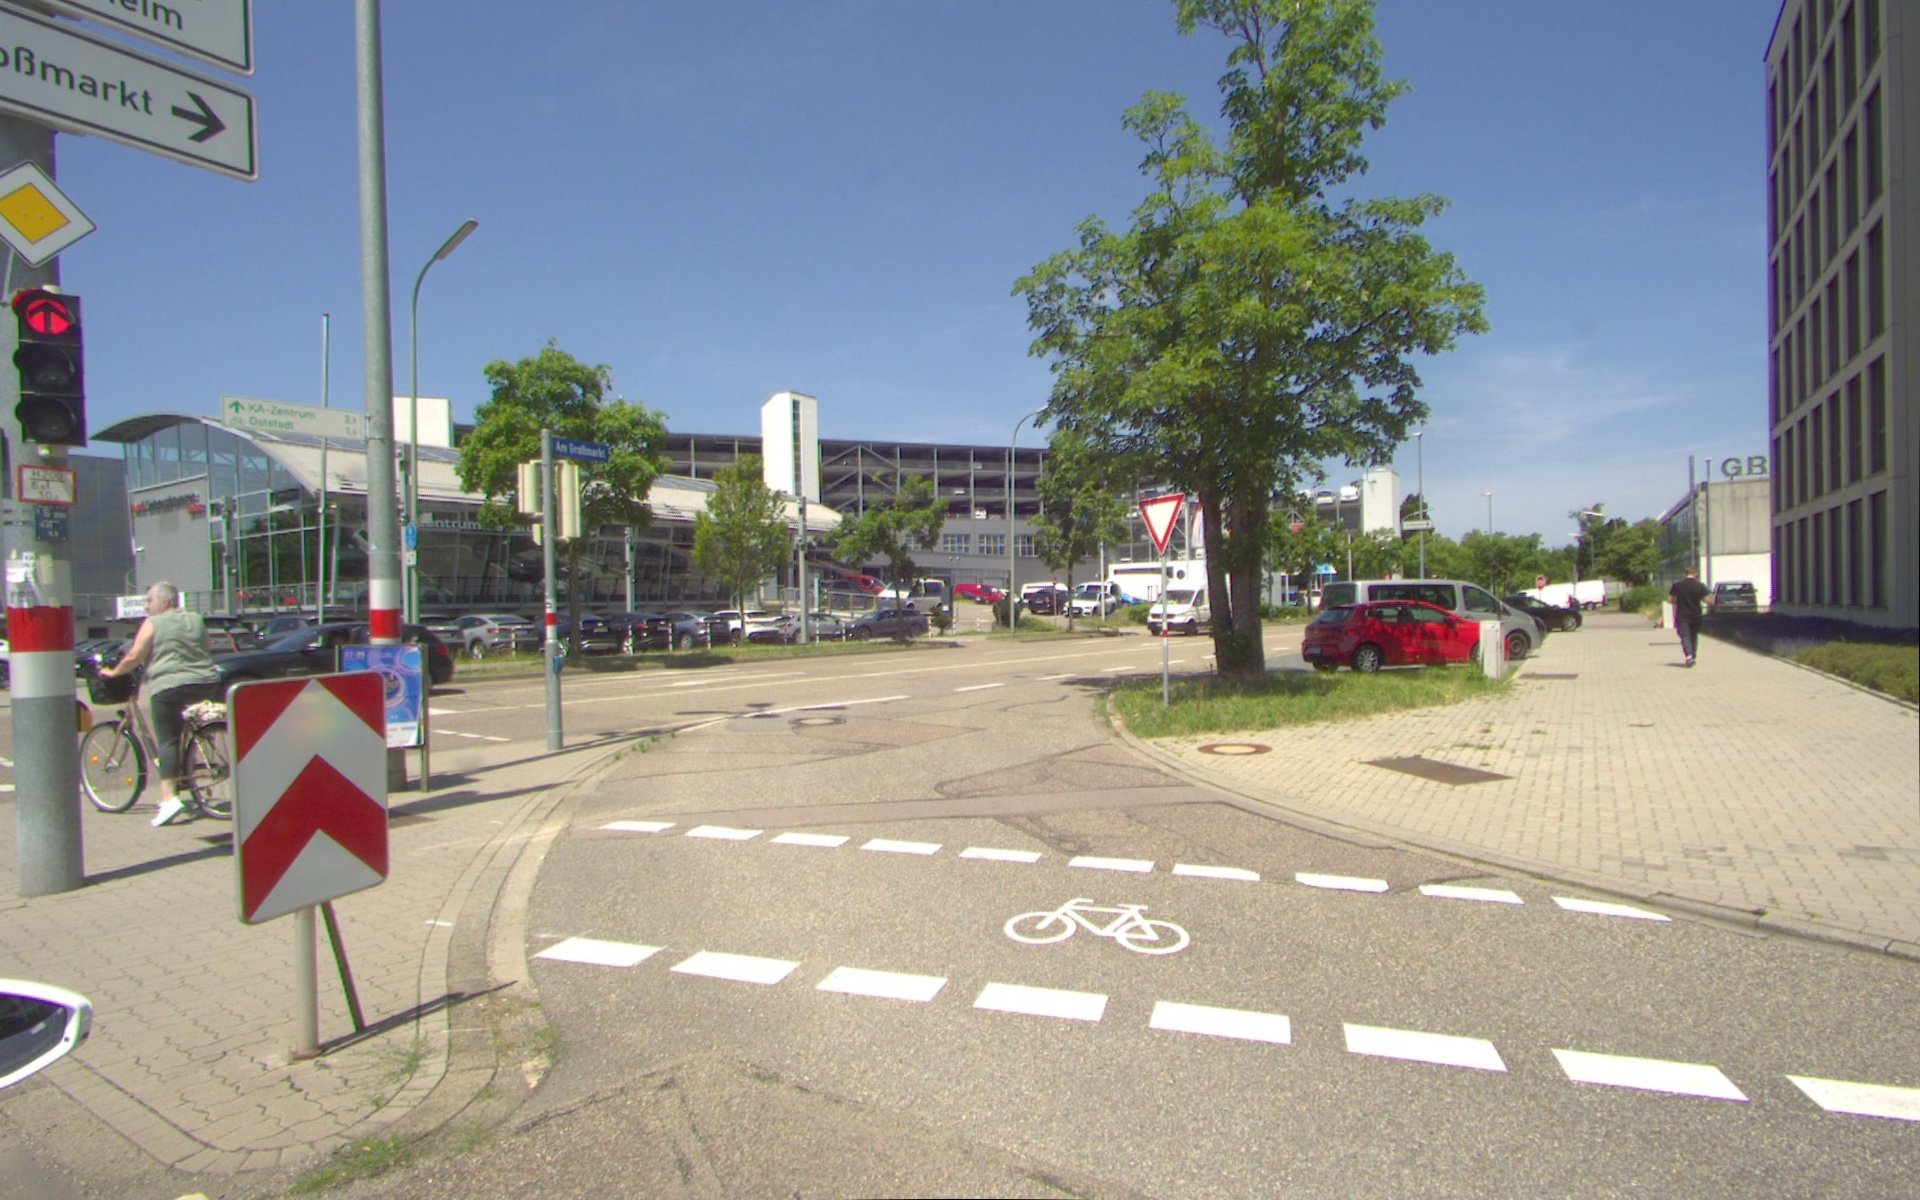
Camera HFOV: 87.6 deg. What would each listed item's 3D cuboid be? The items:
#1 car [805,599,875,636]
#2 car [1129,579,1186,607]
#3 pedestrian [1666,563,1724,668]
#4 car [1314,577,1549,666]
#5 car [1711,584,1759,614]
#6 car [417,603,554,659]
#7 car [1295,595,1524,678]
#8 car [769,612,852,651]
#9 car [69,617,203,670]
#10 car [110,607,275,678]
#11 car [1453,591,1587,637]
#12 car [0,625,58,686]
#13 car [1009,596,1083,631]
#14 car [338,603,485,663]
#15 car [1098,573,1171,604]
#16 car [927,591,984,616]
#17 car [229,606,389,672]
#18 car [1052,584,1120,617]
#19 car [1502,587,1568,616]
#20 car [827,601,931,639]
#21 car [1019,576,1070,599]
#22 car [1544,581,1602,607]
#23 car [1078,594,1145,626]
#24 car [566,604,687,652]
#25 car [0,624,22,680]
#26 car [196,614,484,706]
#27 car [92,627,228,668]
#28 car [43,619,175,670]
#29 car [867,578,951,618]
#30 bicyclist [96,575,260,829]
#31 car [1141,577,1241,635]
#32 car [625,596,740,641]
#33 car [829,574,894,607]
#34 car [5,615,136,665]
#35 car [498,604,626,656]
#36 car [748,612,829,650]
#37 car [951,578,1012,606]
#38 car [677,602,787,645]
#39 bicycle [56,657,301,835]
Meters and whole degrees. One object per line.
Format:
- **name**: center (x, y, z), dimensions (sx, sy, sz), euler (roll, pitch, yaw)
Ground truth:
- **car**: center (-6.950, 1.000, 58.252), dimensions (1.839, 2.040, 3.733), euler (-1, 0, 41)
- **car**: center (15.428, -0.534, 78.328), dimensions (3.945, 2.040, 1.988), euler (-1, 0, 34)
- **pedestrian**: center (13.484, 0.292, 18.368), dimensions (0.764, 1.869, 0.861), euler (-2, 0, 40)
- **car**: center (10.907, 0.475, 23.244), dimensions (4.814, 1.839, 1.704), euler (-2, 0, -10)
- **car**: center (42.146, -0.046, 54.534), dimensions (1.765, 1.542, 3.556), euler (-2, 0, 33)
- **car**: center (-15.222, 0.953, 32.062), dimensions (4.460, 1.662, 1.881), euler (-1, 1, 32)
- **car**: center (8.961, 0.701, 20.088), dimensions (3.924, 1.454, 1.609), euler (-2, 0, -8)
- **car**: center (-7.366, 1.508, 49.305), dimensions (3.659, 1.801, 1.739), euler (-1, 0, -31)
- **car**: center (-34.906, 1.806, 42.519), dimensions (1.972, 2.040, 3.977), euler (-1, 0, 33)
- **car**: center (-19.425, 1.016, 25.319), dimensions (4.207, 1.661, 1.989), euler (-1, 0, 32)
- **car**: center (21.572, 0.551, 38.681), dimensions (4.075, 1.558, 1.815), euler (-3, -1, 2)
- **car**: center (-25.141, 1.391, 24.120), dimensions (1.973, 1.476, 4.729), euler (0, 0, 34)
- **car**: center (5.163, 0.826, 60.269), dimensions (3.943, 2.040, 1.989), euler (-1, 0, 32)
- **car**: center (-16.463, 0.954, 29.997), dimensions (4.377, 1.662, 1.989), euler (-1, 1, 32)
- **car**: center (12.004, -0.762, 68.891), dimensions (4.578, 2.040, 1.989), euler (-1, 0, 32)
- **car**: center (-0.363, 0.269, 74.386), dimensions (3.943, 1.810, 1.730), euler (-1, 0, 32)
- **car**: center (-17.932, 1.021, 27.554), dimensions (4.492, 1.661, 1.989), euler (-1, 0, 32)
- **car**: center (8.091, 0.028, 64.486), dimensions (3.943, 2.040, 1.840), euler (-1, 0, 32)
- **car**: center (41.661, 0.127, 72.540), dimensions (3.949, 2.040, 1.986), euler (-1, 0, 37)
- **car**: center (-3.833, 0.932, 47.714), dimensions (4.702, 1.662, 1.821), euler (-1, 1, -35)
- **car**: center (7.807, -1.119, 92.246), dimensions (4.257, 2.040, 1.989), euler (-1, 0, 32)
- **car**: center (55.186, -0.525, 90.149), dimensions (4.304, 2.149, 2.080), euler (-1, 0, 36)
- **car**: center (10.125, 0.664, 66.871), dimensions (3.943, 2.040, 1.989), euler (-1, 0, 32)
- **car**: center (-12.243, 1.003, 36.727), dimensions (4.410, 1.661, 1.824), euler (-1, 0, 32)
- **car**: center (-27.311, 1.424, 25.453), dimensions (1.973, 1.476, 4.729), euler (-2, -1, 34)
- **car**: center (-11.215, 1.010, 18.350), dimensions (1.654, 1.429, 4.200), euler (-2, -1, 42)
- **car**: center (-32.931, 1.917, 41.322), dimensions (1.694, 1.480, 4.083), euler (0, 0, 33)
- **car**: center (-37.283, 1.896, 43.953), dimensions (1.972, 2.040, 3.977), euler (-1, 0, 33)
- **car**: center (-2.680, -0.084, 53.967), dimensions (1.972, 2.040, 5.117), euler (-1, 0, 32)
- **bicyclist**: center (-5.841, 0.722, 7.496), dimensions (0.742, 1.772, 0.733), euler (0, 0, 28)
- **car**: center (10.874, 0.267, 46.831), dimensions (2.079, 2.567, 5.753), euler (0, 0, 41)
- **car**: center (-10.855, 0.710, 39.041), dimensions (4.410, 1.662, 1.823), euler (-1, 1, 32)
- **car**: center (-6.629, -0.619, 67.448), dimensions (3.937, 2.040, 1.992), euler (-1, 0, 27)
- **car**: center (-39.514, 1.747, 44.574), dimensions (1.972, 2.040, 3.977), euler (-1, 0, 33)
- **car**: center (-13.679, 1.002, 34.377), dimensions (4.410, 1.662, 1.823), euler (-1, 1, 32)
- **car**: center (-8.842, 1.571, 51.648), dimensions (3.712, 1.795, 1.761), euler (-1, 0, -28)
- **car**: center (1.674, -0.592, 77.868), dimensions (4.286, 2.040, 1.990), euler (-1, 0, 30)
- **car**: center (-9.406, 0.938, 41.263), dimensions (4.410, 1.662, 1.823), euler (-1, 1, 32)
- **bicycle**: center (-5.924, 1.034, 7.573), dimensions (1.891, 1.142, 0.786), euler (0, 0, 29)
